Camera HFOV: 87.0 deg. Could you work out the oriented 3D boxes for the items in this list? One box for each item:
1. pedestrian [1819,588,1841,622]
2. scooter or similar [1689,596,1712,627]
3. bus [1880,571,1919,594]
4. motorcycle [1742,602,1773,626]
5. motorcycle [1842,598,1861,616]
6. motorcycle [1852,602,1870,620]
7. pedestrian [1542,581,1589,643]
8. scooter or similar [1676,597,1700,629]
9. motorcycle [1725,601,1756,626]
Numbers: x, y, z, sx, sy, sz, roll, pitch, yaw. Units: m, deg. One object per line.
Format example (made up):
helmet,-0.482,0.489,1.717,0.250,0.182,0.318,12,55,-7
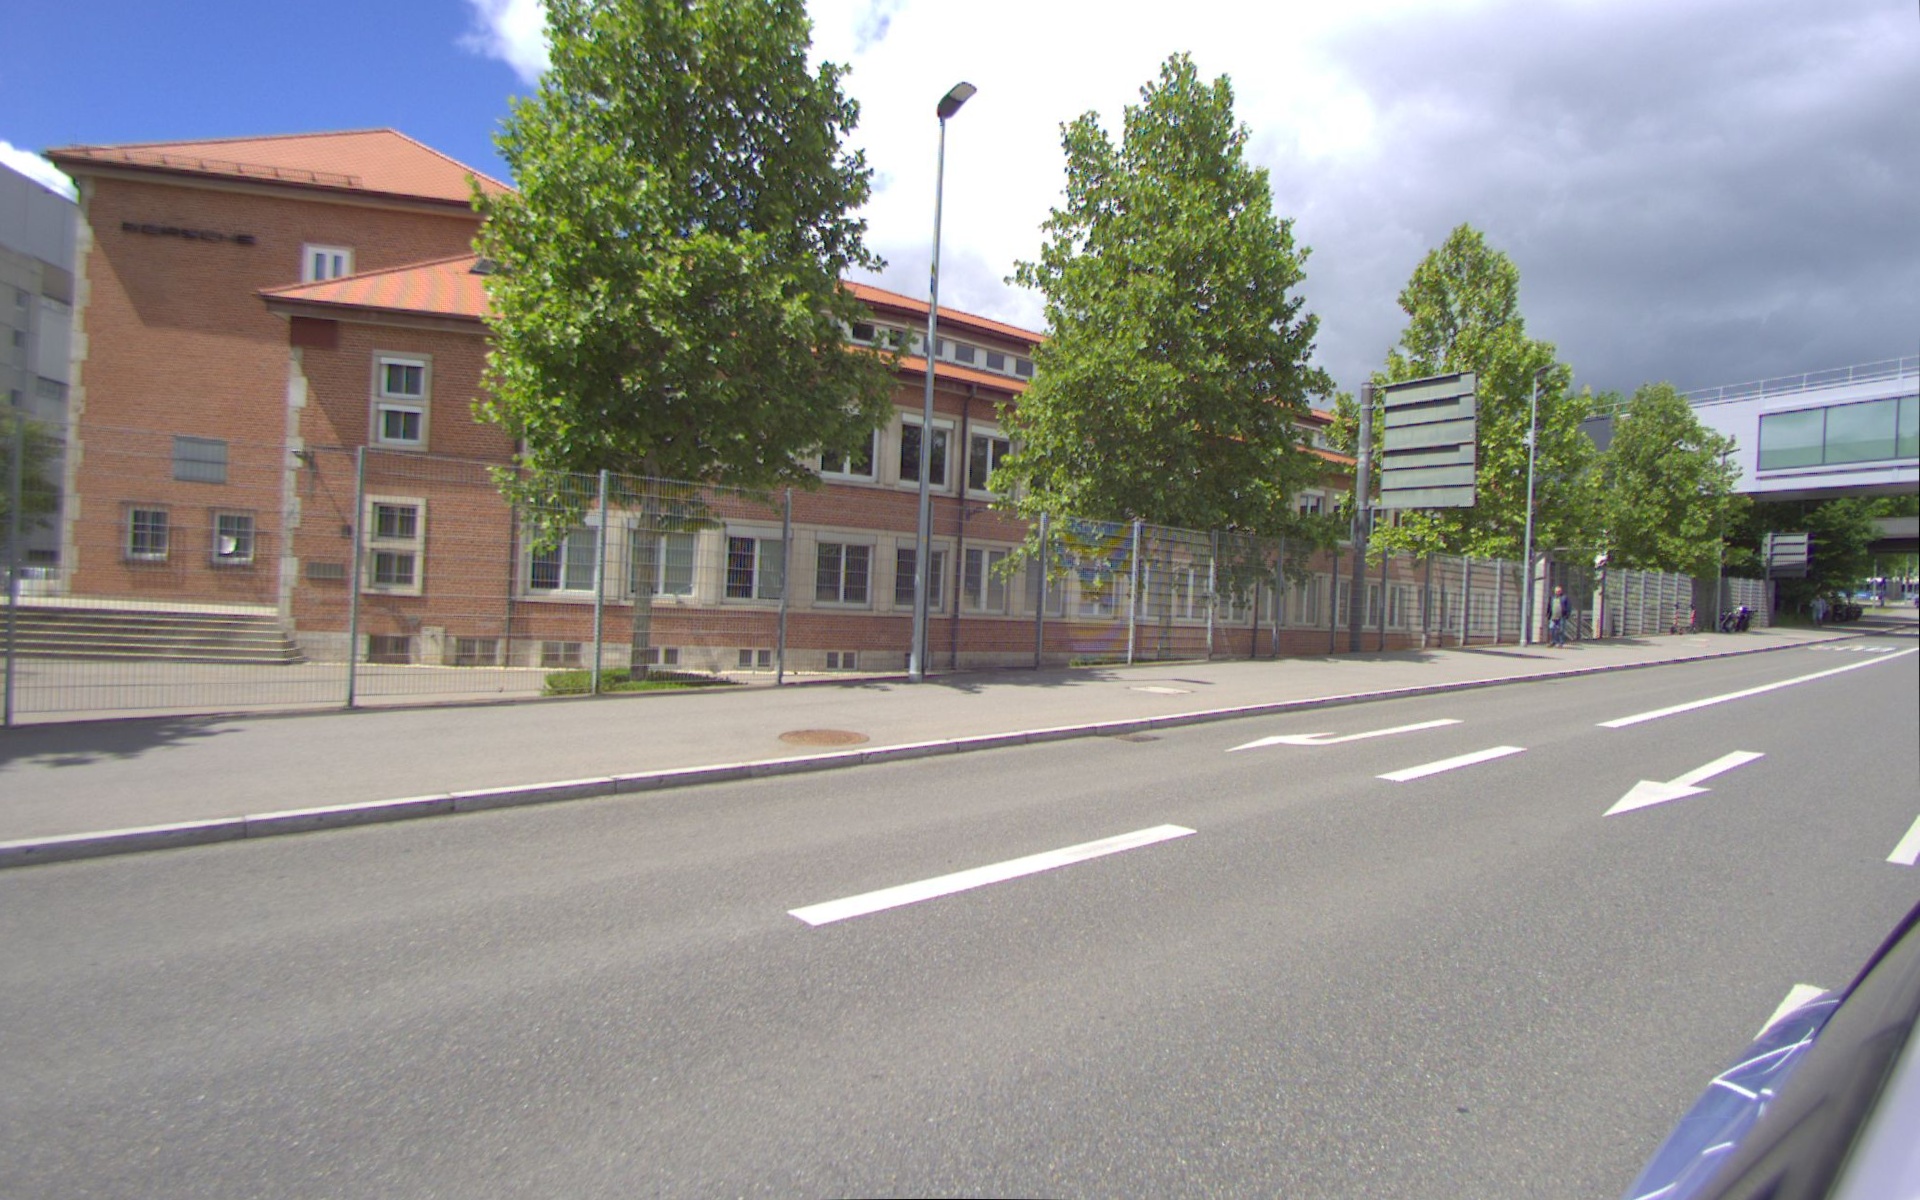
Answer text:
pedestrian,50.037,0.292,58.213,1.078,1.911,0.790,0,2,-42
scooter or similar,31.711,0.492,43.327,1.313,1.310,0.492,0,2,-42
bus,127.317,-2.279,132.574,2.605,2.972,9.773,-1,1,-40
motorcycle,38.085,0.672,48.323,2.467,1.077,0.709,0,4,-42
motorcycle,59.931,0.462,68.028,2.076,1.169,0.679,0,2,-41
motorcycle,61.878,0.750,69.489,2.124,1.157,0.679,0,2,-43
pedestrian,17.783,0.342,29.734,0.924,1.764,0.879,0,3,-41
scooter or similar,30.220,0.527,41.993,1.313,1.310,0.492,0,2,-42
motorcycle,35.776,0.597,46.371,2.208,1.077,0.669,0,4,-42
